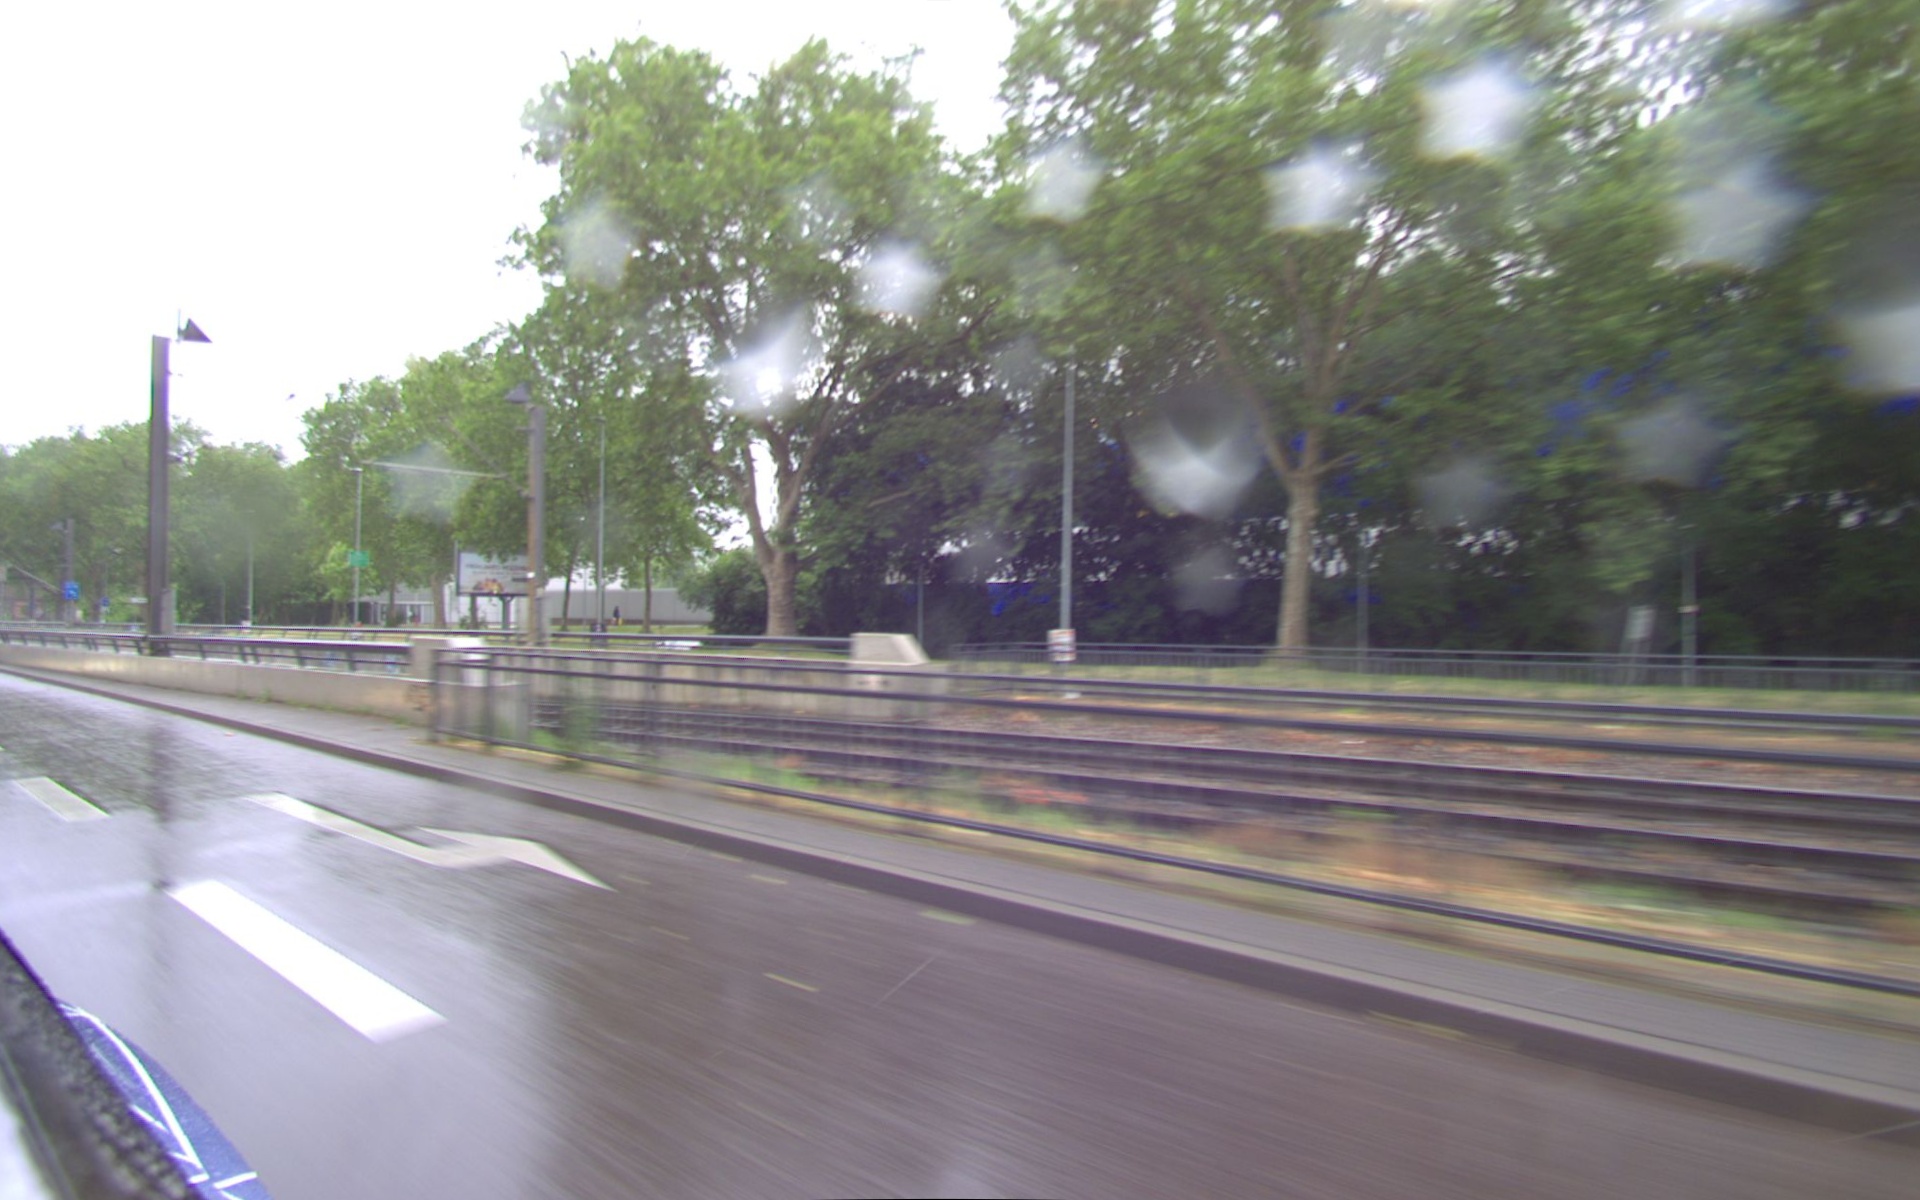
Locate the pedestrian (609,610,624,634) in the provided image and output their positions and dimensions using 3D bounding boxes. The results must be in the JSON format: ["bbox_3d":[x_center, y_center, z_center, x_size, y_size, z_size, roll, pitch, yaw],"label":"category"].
[{"bbox_3d":[-29.969,1.931,88.270,0.789,2.029,0.991,-1,0,40],"label":"pedestrian"}]
